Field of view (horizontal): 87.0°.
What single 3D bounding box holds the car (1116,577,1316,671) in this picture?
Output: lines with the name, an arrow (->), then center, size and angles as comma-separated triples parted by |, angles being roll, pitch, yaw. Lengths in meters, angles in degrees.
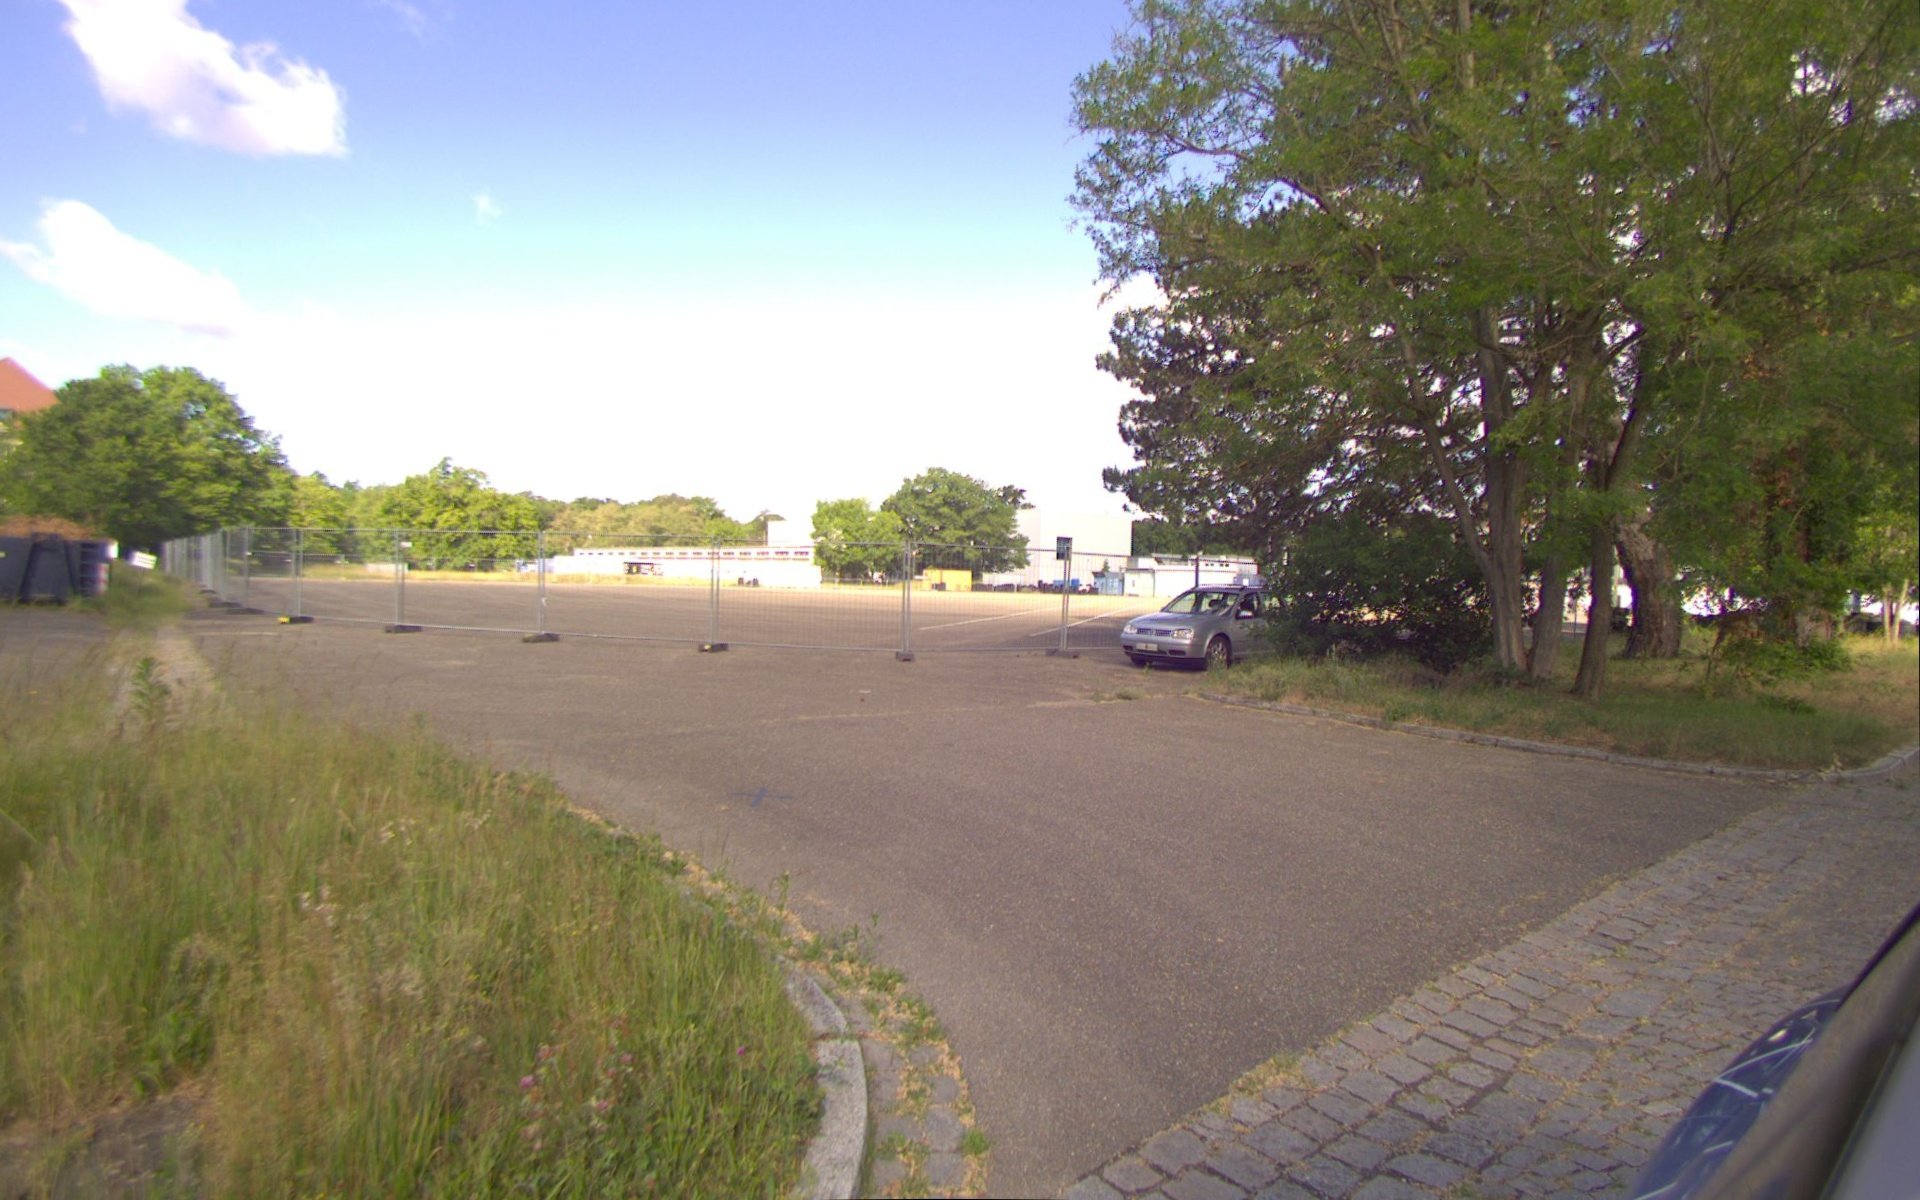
car -> 4.635, 0.373, 18.024 | 3.920, 1.462, 1.576 | 1, 2, -43
